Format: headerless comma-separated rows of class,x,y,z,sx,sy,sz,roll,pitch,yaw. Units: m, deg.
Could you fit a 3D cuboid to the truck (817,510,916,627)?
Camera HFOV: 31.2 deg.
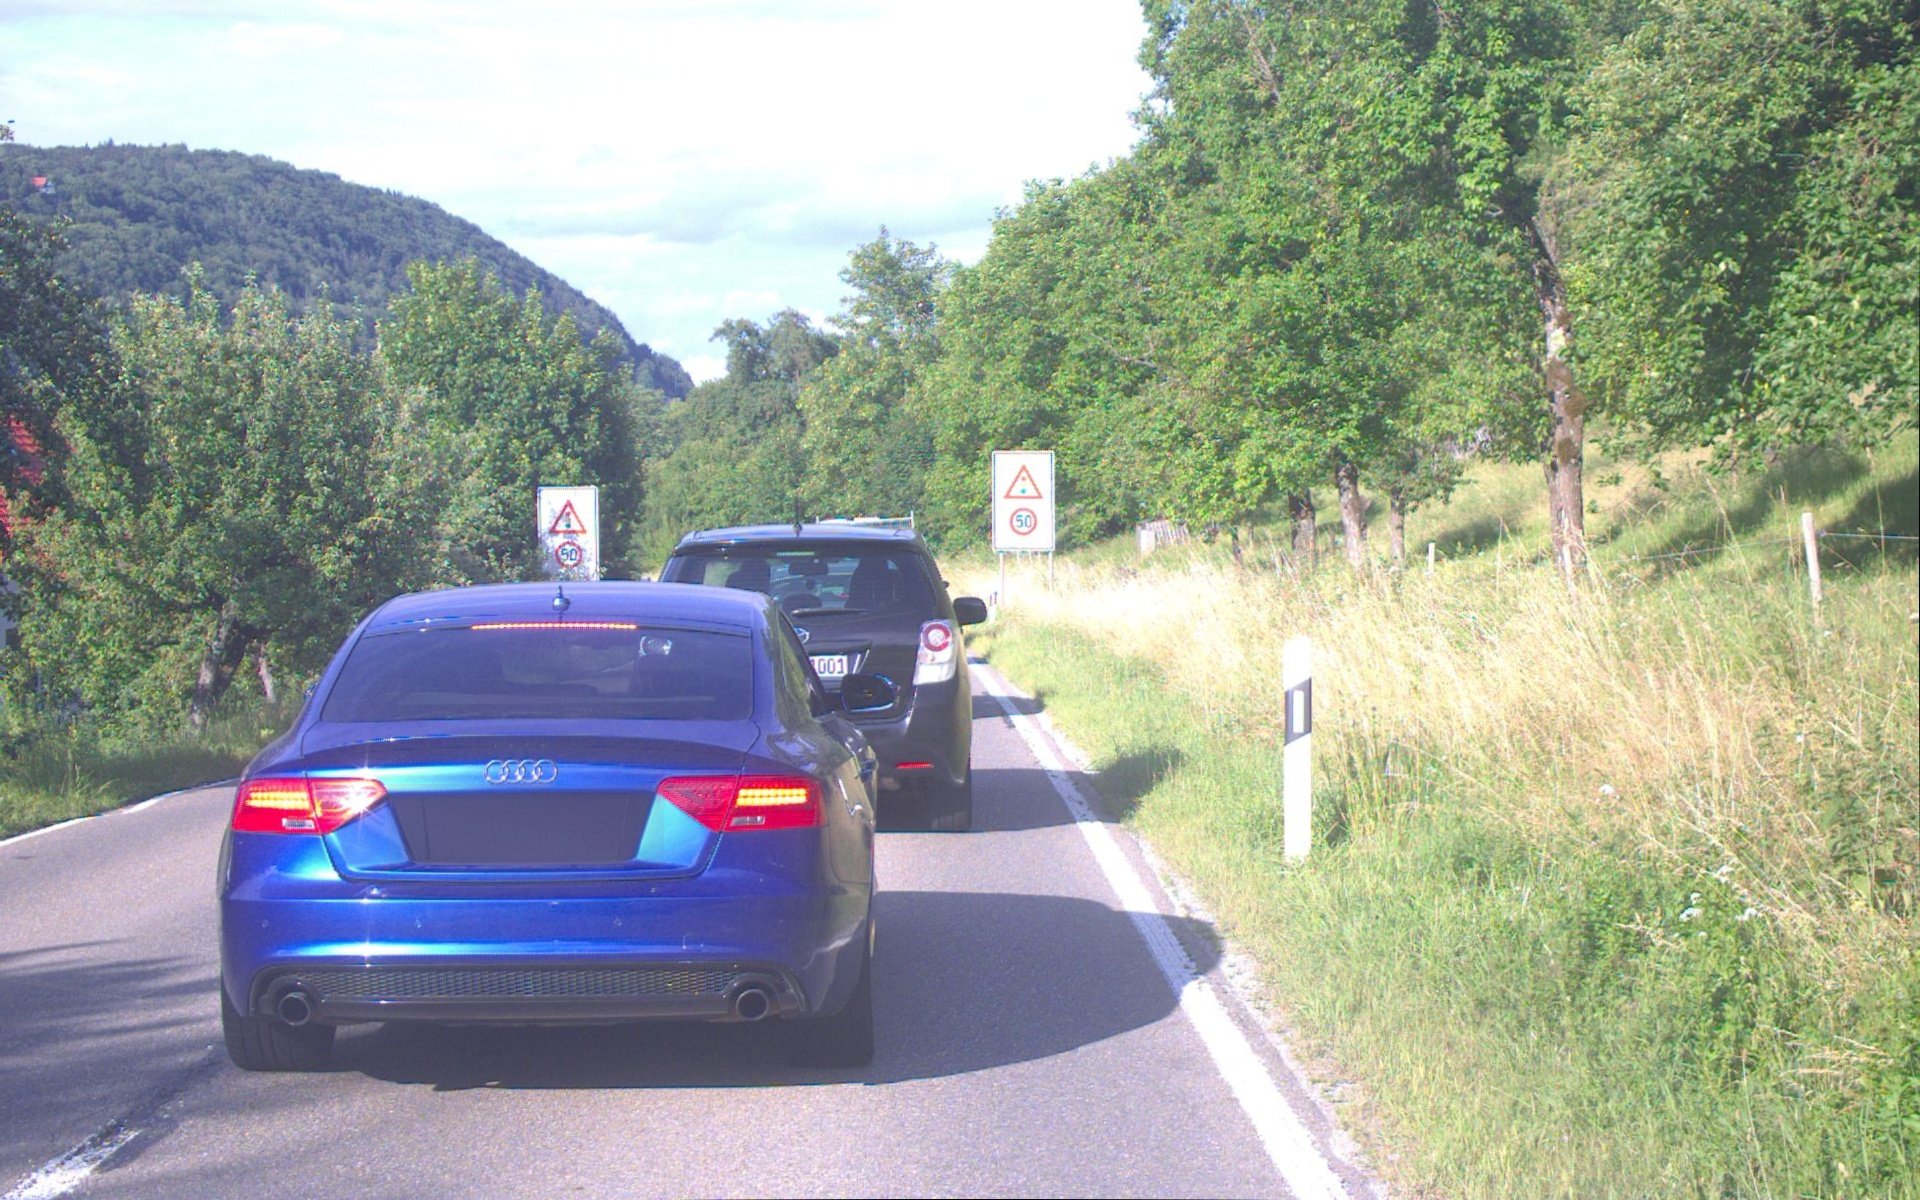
truck,-1.961,-0.671,72.012,1.950,2.337,5.094,1,1,-2

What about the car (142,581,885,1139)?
car,-1.163,0.637,10.706,1.805,1.377,4.215,0,0,-1

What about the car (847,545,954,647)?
car,-0.989,-0.093,56.428,1.692,1.618,3.789,0,1,-1

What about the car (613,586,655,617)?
car,-16.353,0.064,172.220,1.558,1.490,3.779,1,1,-13

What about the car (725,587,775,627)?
car,-8.370,0.279,136.739,1.558,1.490,3.779,1,1,-9

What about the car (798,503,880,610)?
car,-2.914,-1.036,82.046,1.792,2.445,3.920,1,1,-4

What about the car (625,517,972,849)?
car,-0.830,0.372,18.712,1.692,1.618,3.789,0,1,-1
